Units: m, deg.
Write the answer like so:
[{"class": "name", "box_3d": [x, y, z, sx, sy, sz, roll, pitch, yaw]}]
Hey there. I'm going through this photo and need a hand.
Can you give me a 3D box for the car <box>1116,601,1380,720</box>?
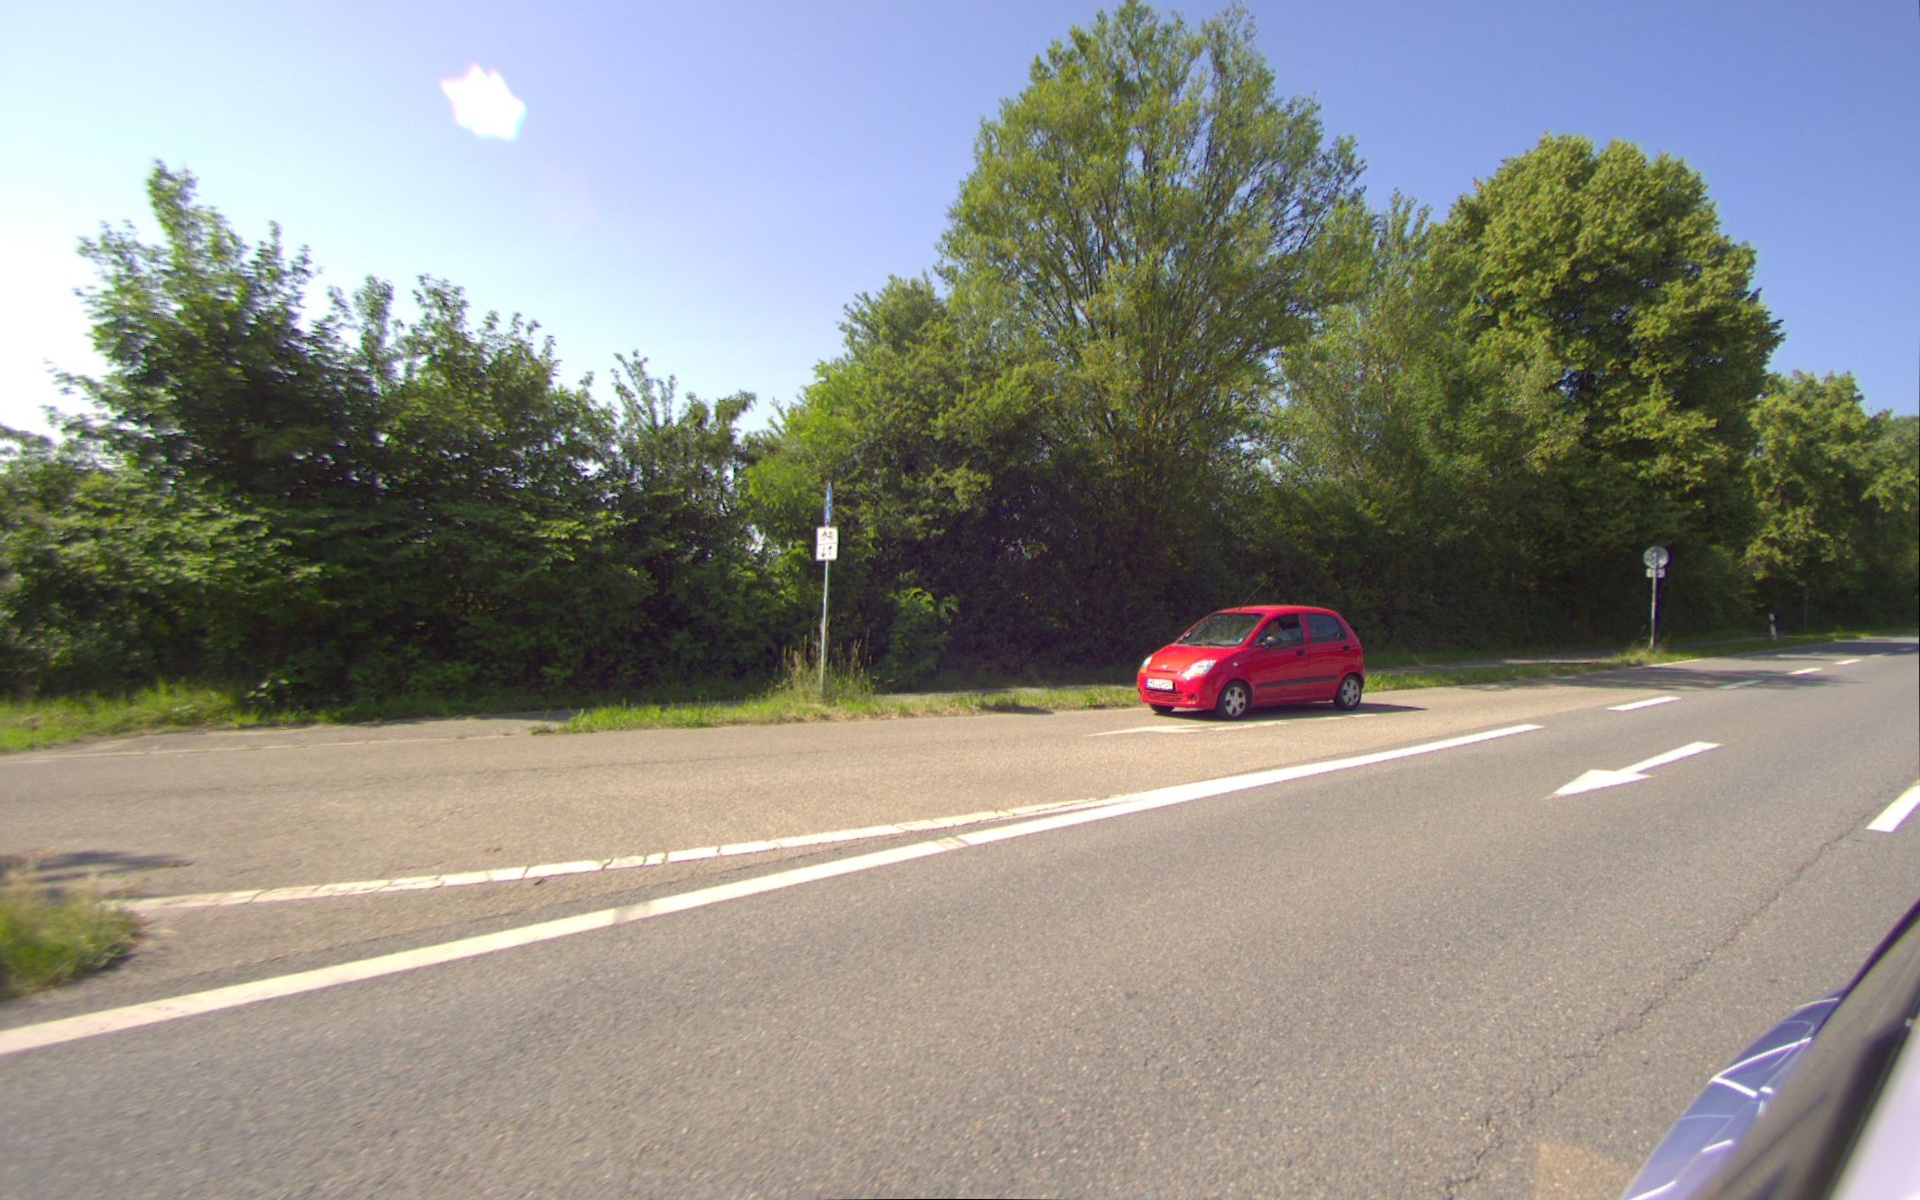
[{"class": "car", "box_3d": [4.052, 0.756, 14.135, 3.497, 1.472, 1.551, 0, -1, -30]}]
